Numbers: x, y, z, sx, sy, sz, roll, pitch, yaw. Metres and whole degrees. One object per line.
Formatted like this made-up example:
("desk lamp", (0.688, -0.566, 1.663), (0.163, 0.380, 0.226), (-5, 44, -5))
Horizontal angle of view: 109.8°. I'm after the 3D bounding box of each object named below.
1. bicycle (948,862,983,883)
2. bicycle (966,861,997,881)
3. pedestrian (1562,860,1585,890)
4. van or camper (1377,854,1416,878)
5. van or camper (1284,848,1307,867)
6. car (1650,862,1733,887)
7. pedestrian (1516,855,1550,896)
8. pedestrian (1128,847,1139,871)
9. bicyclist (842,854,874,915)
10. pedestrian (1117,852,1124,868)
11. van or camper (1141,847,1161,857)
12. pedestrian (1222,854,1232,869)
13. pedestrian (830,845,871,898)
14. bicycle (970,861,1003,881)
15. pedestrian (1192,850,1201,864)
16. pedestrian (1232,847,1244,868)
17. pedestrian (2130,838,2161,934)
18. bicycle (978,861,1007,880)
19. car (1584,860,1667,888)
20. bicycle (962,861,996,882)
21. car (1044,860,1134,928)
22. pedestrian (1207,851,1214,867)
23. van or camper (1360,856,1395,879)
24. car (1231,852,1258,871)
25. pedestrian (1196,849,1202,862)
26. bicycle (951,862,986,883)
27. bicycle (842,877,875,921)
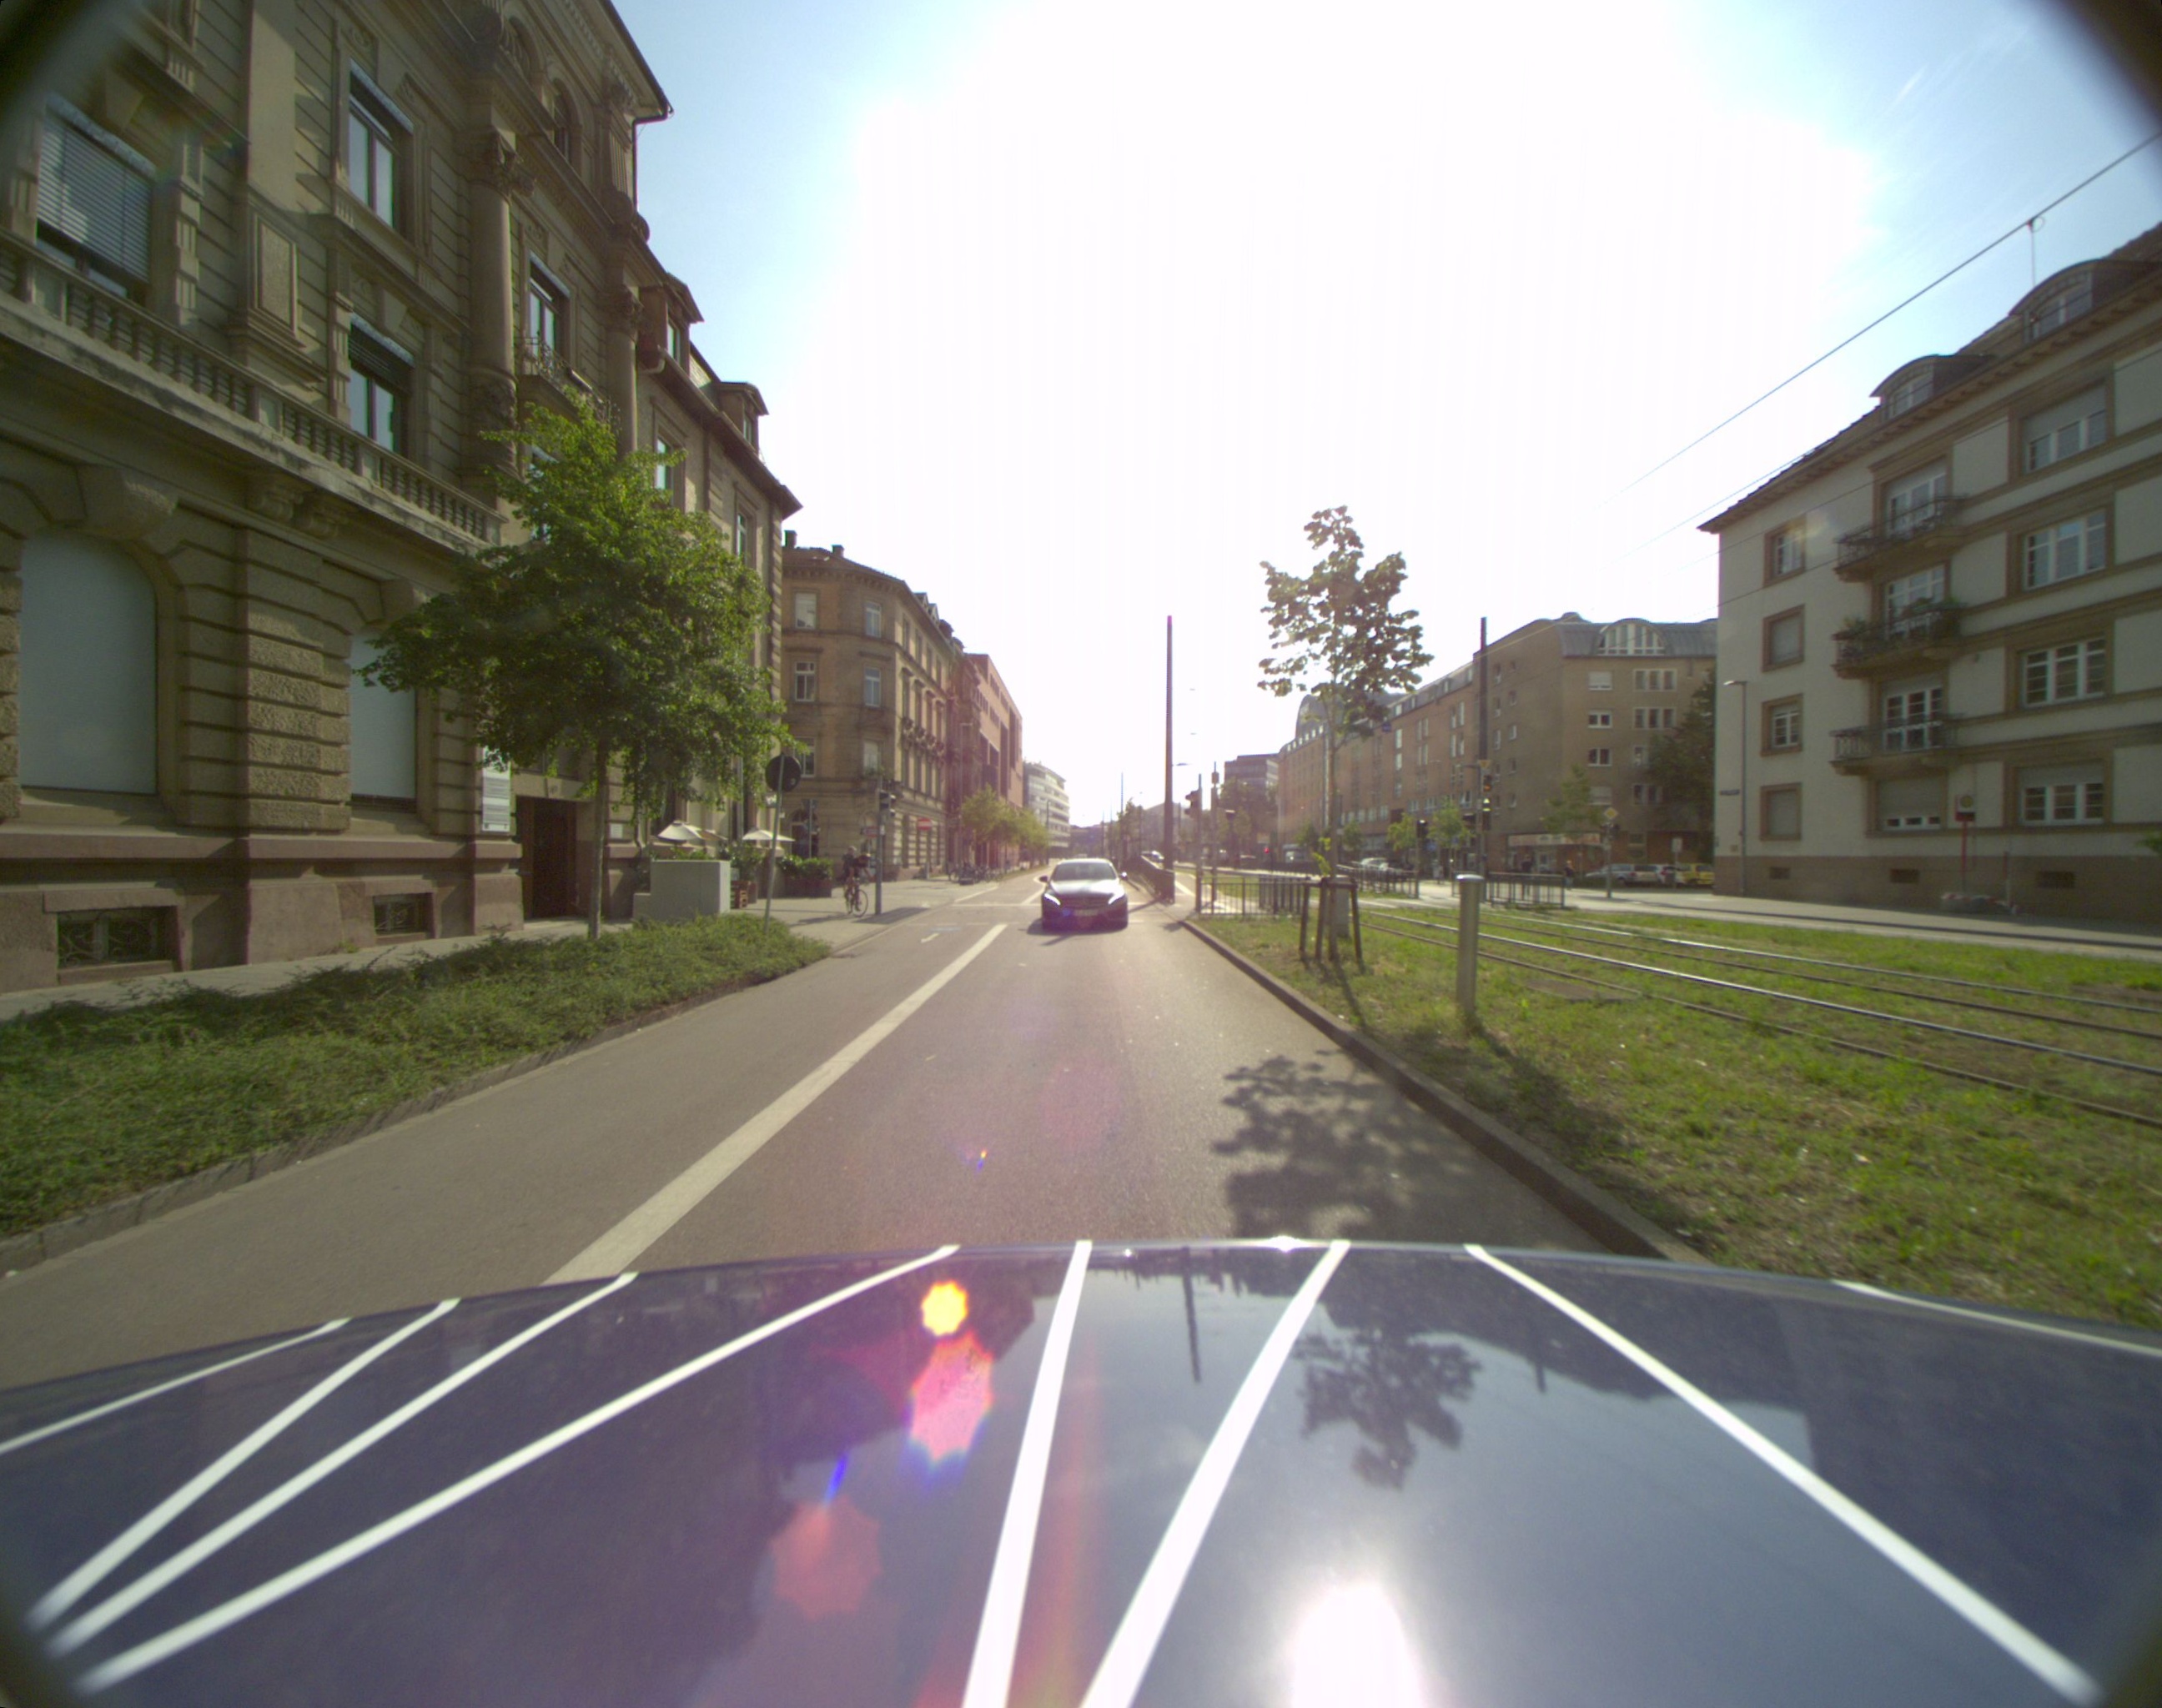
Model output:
("bicycle", (-6.309, 1.017, 41.488), (1.756, 1.081, 0.583), (2, 0, 4))
("bicycle", (-6.036, 1.023, 45.990), (1.761, 1.081, 0.657), (3, 1, -8))
("pedestrian", (26.237, 1.102, 40.460), (0.680, 1.574, 0.807), (0, 1, -2))
("van or camper", (26.763, 1.007, 64.600), (1.934, 1.956, 4.002), (0, 0, 5))
("van or camper", (32.162, 0.471, 114.270), (1.998, 2.786, 5.353), (1, 0, 1))
("car", (38.943, 1.281, 48.588), (1.999, 1.499, 3.999), (0, 0, -2))
("pedestrian", (20.633, 0.958, 34.683), (1.073, 1.857, 0.862), (0, 1, -26))
("pedestrian", (4.525, 0.429, 65.641), (0.835, 2.002, 1.028), (-2, 1, -2))
("bicyclist", (-5.617, 0.747, 19.092), (0.586, 1.474, 0.929), (2, 1, -25))
("pedestrian", (4.348, 0.673, 84.123), (0.675, 1.747, 0.727), (-2, 1, 0))
("van or camper", (14.724, -0.430, 160.022), (1.939, 2.198, 3.974), (0, 1, -40))
("pedestrian", (15.053, 0.728, 78.255), (0.679, 1.522, 0.810), (0, 1, -30))
("pedestrian", (-8.070, 0.613, 26.606), (0.862, 1.795, 0.995), (1, -1, 28))
("bicycle", (-5.599, 1.020, 44.827), (1.763, 1.081, 0.671), (3, 1, -22))
("pedestrian", (14.721, 0.430, 96.838), (0.787, 1.736, 0.833), (1, 1, -36))
("pedestrian", (14.054, 0.312, 68.140), (0.938, 1.861, 0.741), (0, 1, 2))
("pedestrian", (23.603, 0.683, 16.219), (0.844, 2.056, 1.157), (-1, 1, 2))
("bicycle", (-5.548, 1.012, 47.549), (1.761, 1.081, 0.610), (3, 1, -8))
("car", (33.851, 1.202, 47.408), (1.768, 1.590, 4.554), (0, 0, -3))
("bicycle", (-5.806, 1.010, 43.358), (1.758, 1.081, 0.669), (3, 1, 6))
("car", (0.207, 0.872, 18.381), (1.907, 1.384, 4.236), (-1, 0, 1))
("pedestrian", (14.755, 0.562, 86.559), (0.807, 1.875, 0.555), (0, 1, 2))
("van or camper", (27.247, 1.240, 70.004), (1.997, 2.002, 4.002), (0, 0, 6))
("car", (18.074, 0.767, 84.180), (1.998, 2.002, 4.931), (0, 0, 0))
("pedestrian", (15.942, 0.249, 102.548), (0.652, 1.750, 0.698), (-2, 1, 2))
("bicycle", (-6.219, 1.007, 42.088), (1.756, 1.081, 0.583), (2, 0, 4))
("bicycle", (-5.596, 1.115, 19.045), (0.507, 0.948, 1.780), (2, 1, -25))
